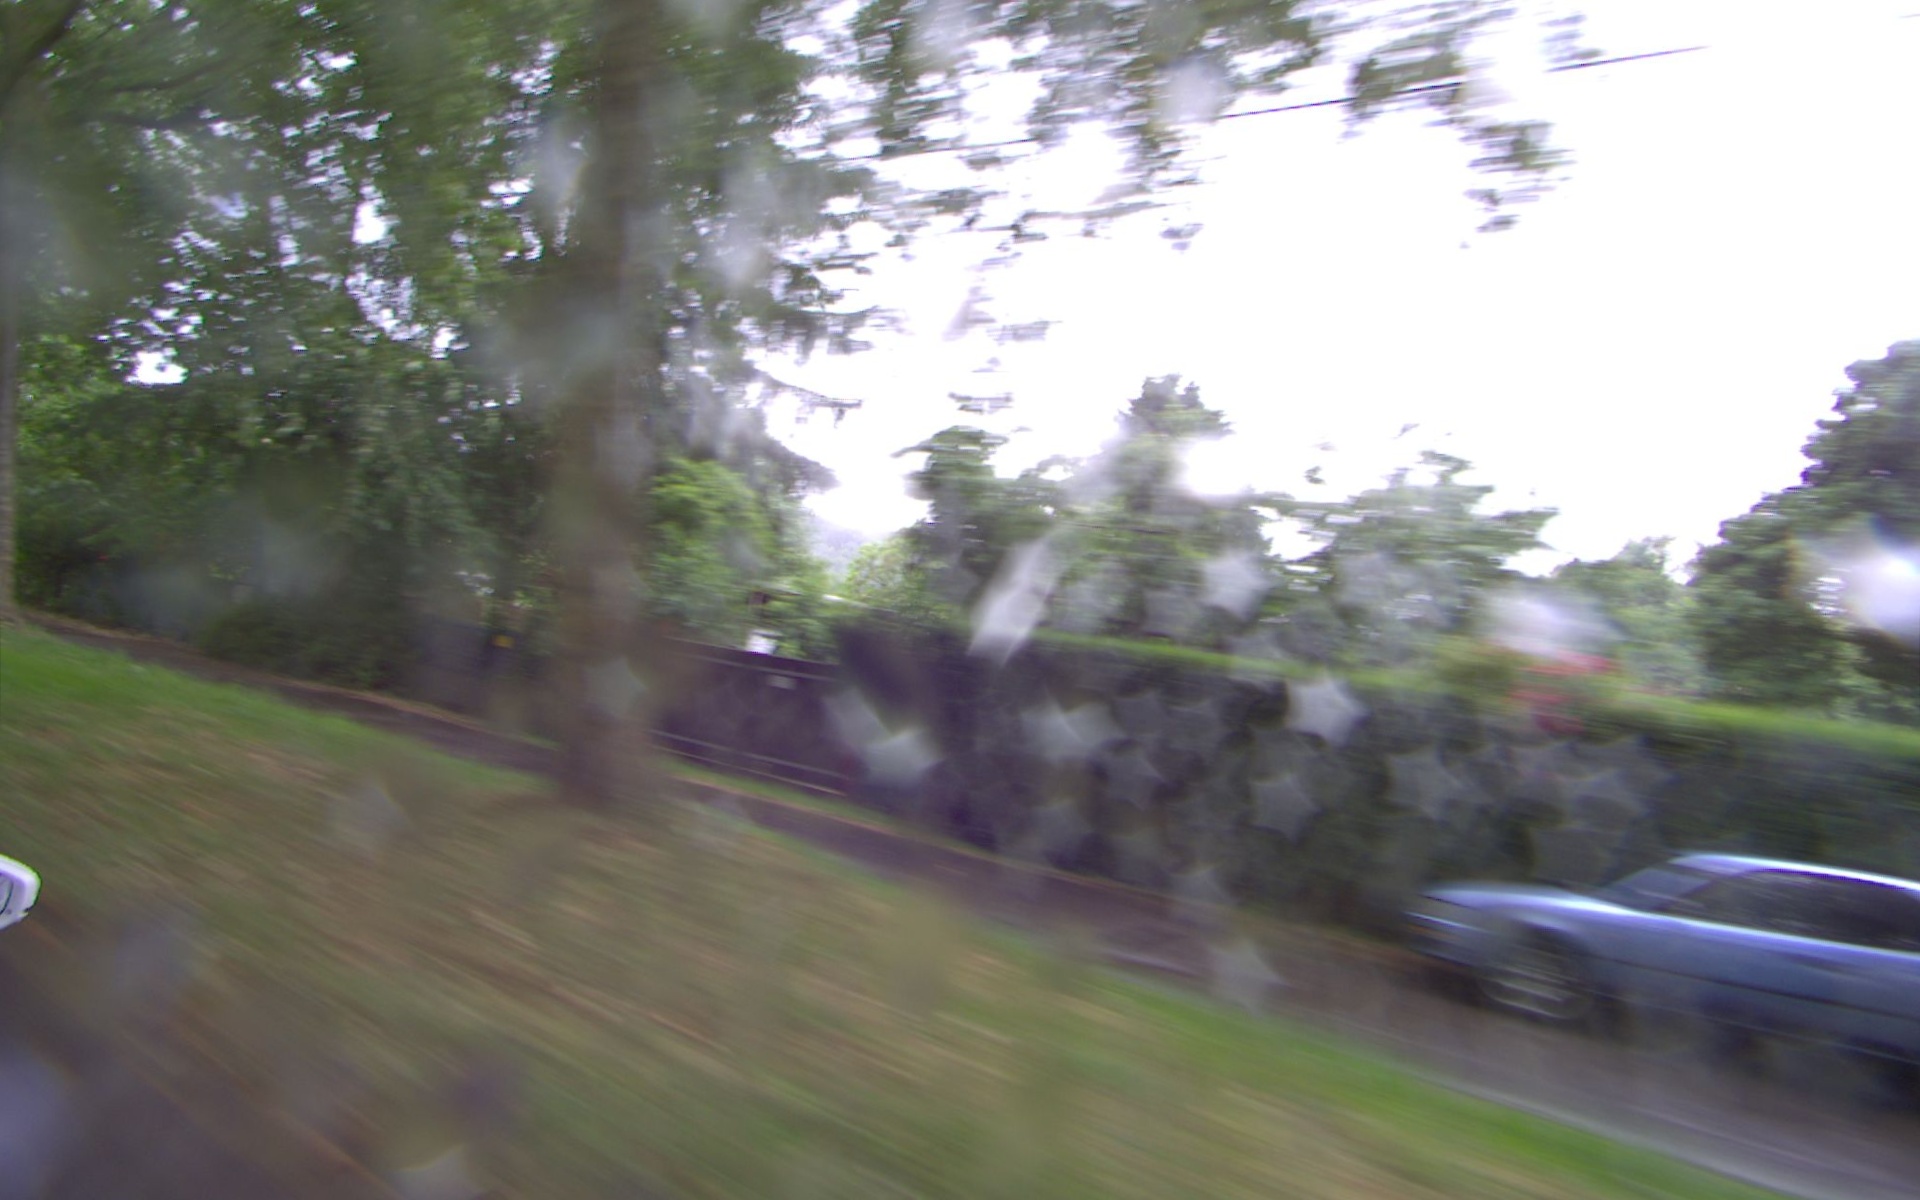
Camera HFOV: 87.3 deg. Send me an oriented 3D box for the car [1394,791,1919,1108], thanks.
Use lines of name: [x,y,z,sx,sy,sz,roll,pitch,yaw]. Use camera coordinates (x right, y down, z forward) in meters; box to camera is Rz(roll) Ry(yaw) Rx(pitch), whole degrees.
car: [5.404,2.437,7.276,3.931,1.337,1.805,6,-7,28]
